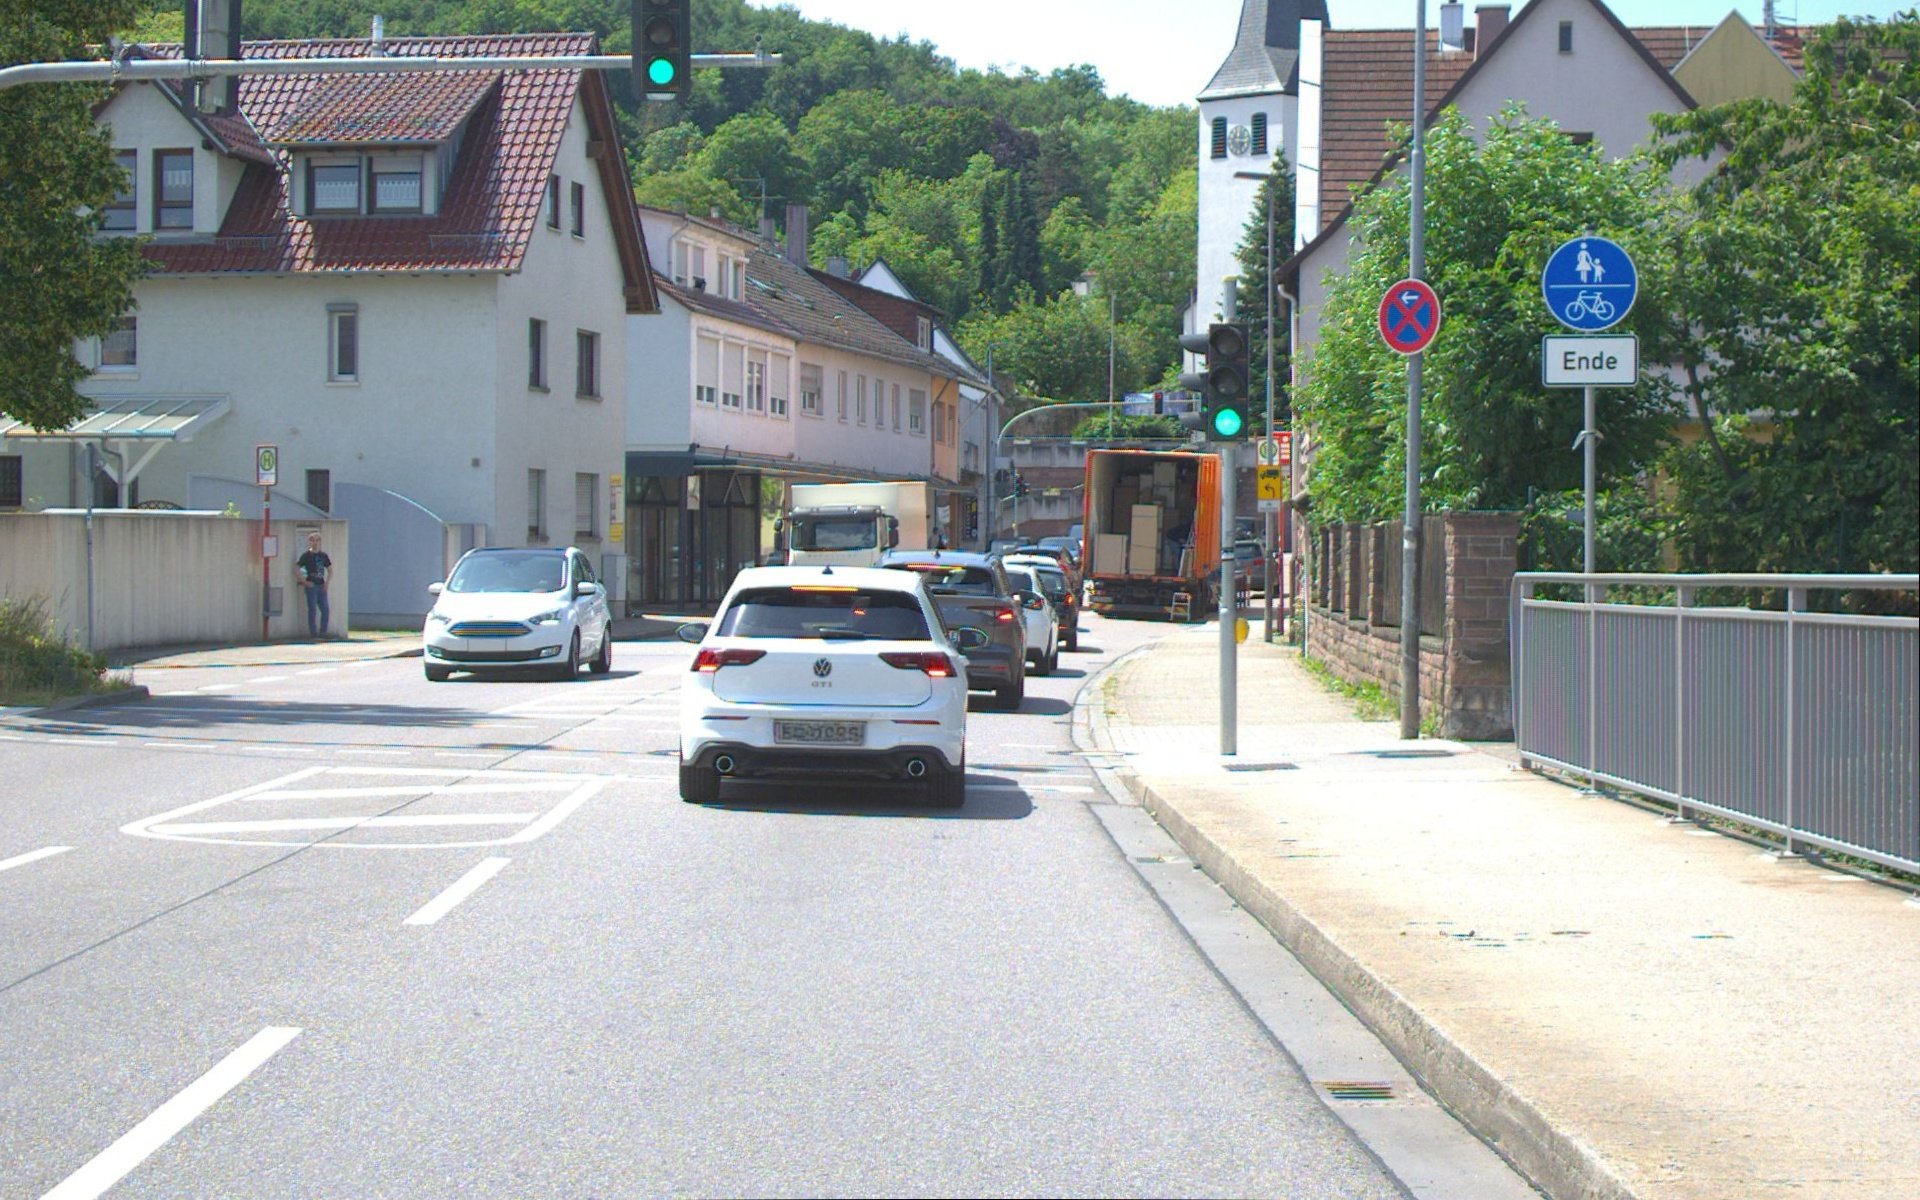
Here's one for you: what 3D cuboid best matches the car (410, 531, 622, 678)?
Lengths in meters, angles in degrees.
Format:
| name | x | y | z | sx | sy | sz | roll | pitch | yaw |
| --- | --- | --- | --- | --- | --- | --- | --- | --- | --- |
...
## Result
| name | x | y | z | sx | sy | sz | roll | pitch | yaw |
| --- | --- | --- | --- | --- | --- | --- | --- | --- | --- |
| car | -5.324 | 0.041 | 41.709 | 1.815 | 1.644 | 4.000 | 2 | 0 | 3 |

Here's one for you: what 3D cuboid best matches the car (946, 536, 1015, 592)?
| name | x | y | z | sx | sy | sz | roll | pitch | yaw |
| --- | --- | --- | --- | --- | --- | --- | --- | --- | --- |
| car | 0.648 | -1.107 | 104.063 | 1.739 | 1.645 | 3.668 | 1 | 1 | 6 |

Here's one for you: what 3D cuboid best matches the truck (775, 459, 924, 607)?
| name | x | y | z | sx | sy | sz | roll | pitch | yaw |
| --- | --- | --- | --- | --- | --- | --- | --- | --- | --- |
| truck | -2.459 | -1.483 | 78.613 | 2.502 | 3.224 | 6.038 | 0 | 0 | 7 |

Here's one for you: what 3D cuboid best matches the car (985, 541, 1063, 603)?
| name | x | y | z | sx | sy | sz | roll | pitch | yaw |
| --- | --- | --- | --- | --- | --- | --- | --- | --- | --- |
| car | 1.624 | -0.700 | 86.463 | 1.815 | 1.514 | 4.000 | 0 | 0 | 3 |

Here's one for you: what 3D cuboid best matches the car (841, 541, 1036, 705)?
| name | x | y | z | sx | sy | sz | roll | pitch | yaw |
| --- | --- | --- | --- | --- | --- | --- | --- | --- | --- |
| car | -0.174 | 0.223 | 36.270 | 1.815 | 1.623 | 4.000 | 0 | 0 | 3 |

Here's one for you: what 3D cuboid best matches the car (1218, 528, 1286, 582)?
| name | x | y | z | sx | sy | sz | roll | pitch | yaw |
| --- | --- | --- | --- | --- | --- | --- | --- | --- | --- |
| car | 8.414 | -1.288 | 99.240 | 1.815 | 1.514 | 4.000 | 0 | 0 | 3 |

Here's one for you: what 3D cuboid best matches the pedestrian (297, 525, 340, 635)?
| name | x | y | z | sx | sy | sz | roll | pitch | yaw |
| --- | --- | --- | --- | --- | --- | --- | --- | --- | --- |
| pedestrian | -10.283 | -0.324 | 55.113 | 0.434 | 1.758 | 0.556 | 1 | 1 | 22 |

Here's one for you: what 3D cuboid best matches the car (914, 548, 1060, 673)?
| name | x | y | z | sx | sy | sz | roll | pitch | yaw |
| --- | --- | --- | --- | --- | --- | --- | --- | --- | --- |
| car | 0.408 | 0.134 | 46.935 | 1.815 | 1.623 | 4.000 | 0 | 0 | 3 |

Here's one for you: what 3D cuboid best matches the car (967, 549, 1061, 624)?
| name | x | y | z | sx | sy | sz | roll | pitch | yaw |
| --- | --- | --- | --- | --- | --- | --- | --- | --- | --- |
| car | 1.149 | -0.292 | 71.991 | 1.815 | 1.514 | 4.000 | 0 | 0 | 3 |

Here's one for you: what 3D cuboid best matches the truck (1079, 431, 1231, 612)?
| name | x | y | z | sx | sy | sz | roll | pitch | yaw |
| --- | --- | --- | --- | --- | --- | --- | --- | --- | --- |
| truck | 4.887 | -1.822 | 84.210 | 3.367 | 4.156 | 9.517 | 0 | 0 | 5 |

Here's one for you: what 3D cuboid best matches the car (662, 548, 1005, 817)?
| name | x | y | z | sx | sy | sz | roll | pitch | yaw |
| --- | --- | --- | --- | --- | --- | --- | --- | --- | --- |
| car | -0.714 | 0.472 | 22.095 | 1.815 | 1.514 | 4.000 | 2 | 0 | 3 |

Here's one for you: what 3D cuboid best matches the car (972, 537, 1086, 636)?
| name | x | y | z | sx | sy | sz | roll | pitch | yaw |
| --- | --- | --- | --- | --- | --- | --- | --- | --- | --- |
| car | 1.213 | -0.229 | 58.828 | 1.815 | 1.623 | 4.000 | 0 | 0 | 3 |

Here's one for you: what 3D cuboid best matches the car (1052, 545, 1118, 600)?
| name | x | y | z | sx | sy | sz | roll | pitch | yaw |
| --- | --- | --- | --- | --- | --- | --- | --- | --- | --- |
| car | 3.579 | -0.772 | 97.803 | 1.815 | 1.514 | 4.000 | 0 | 0 | 3 |
